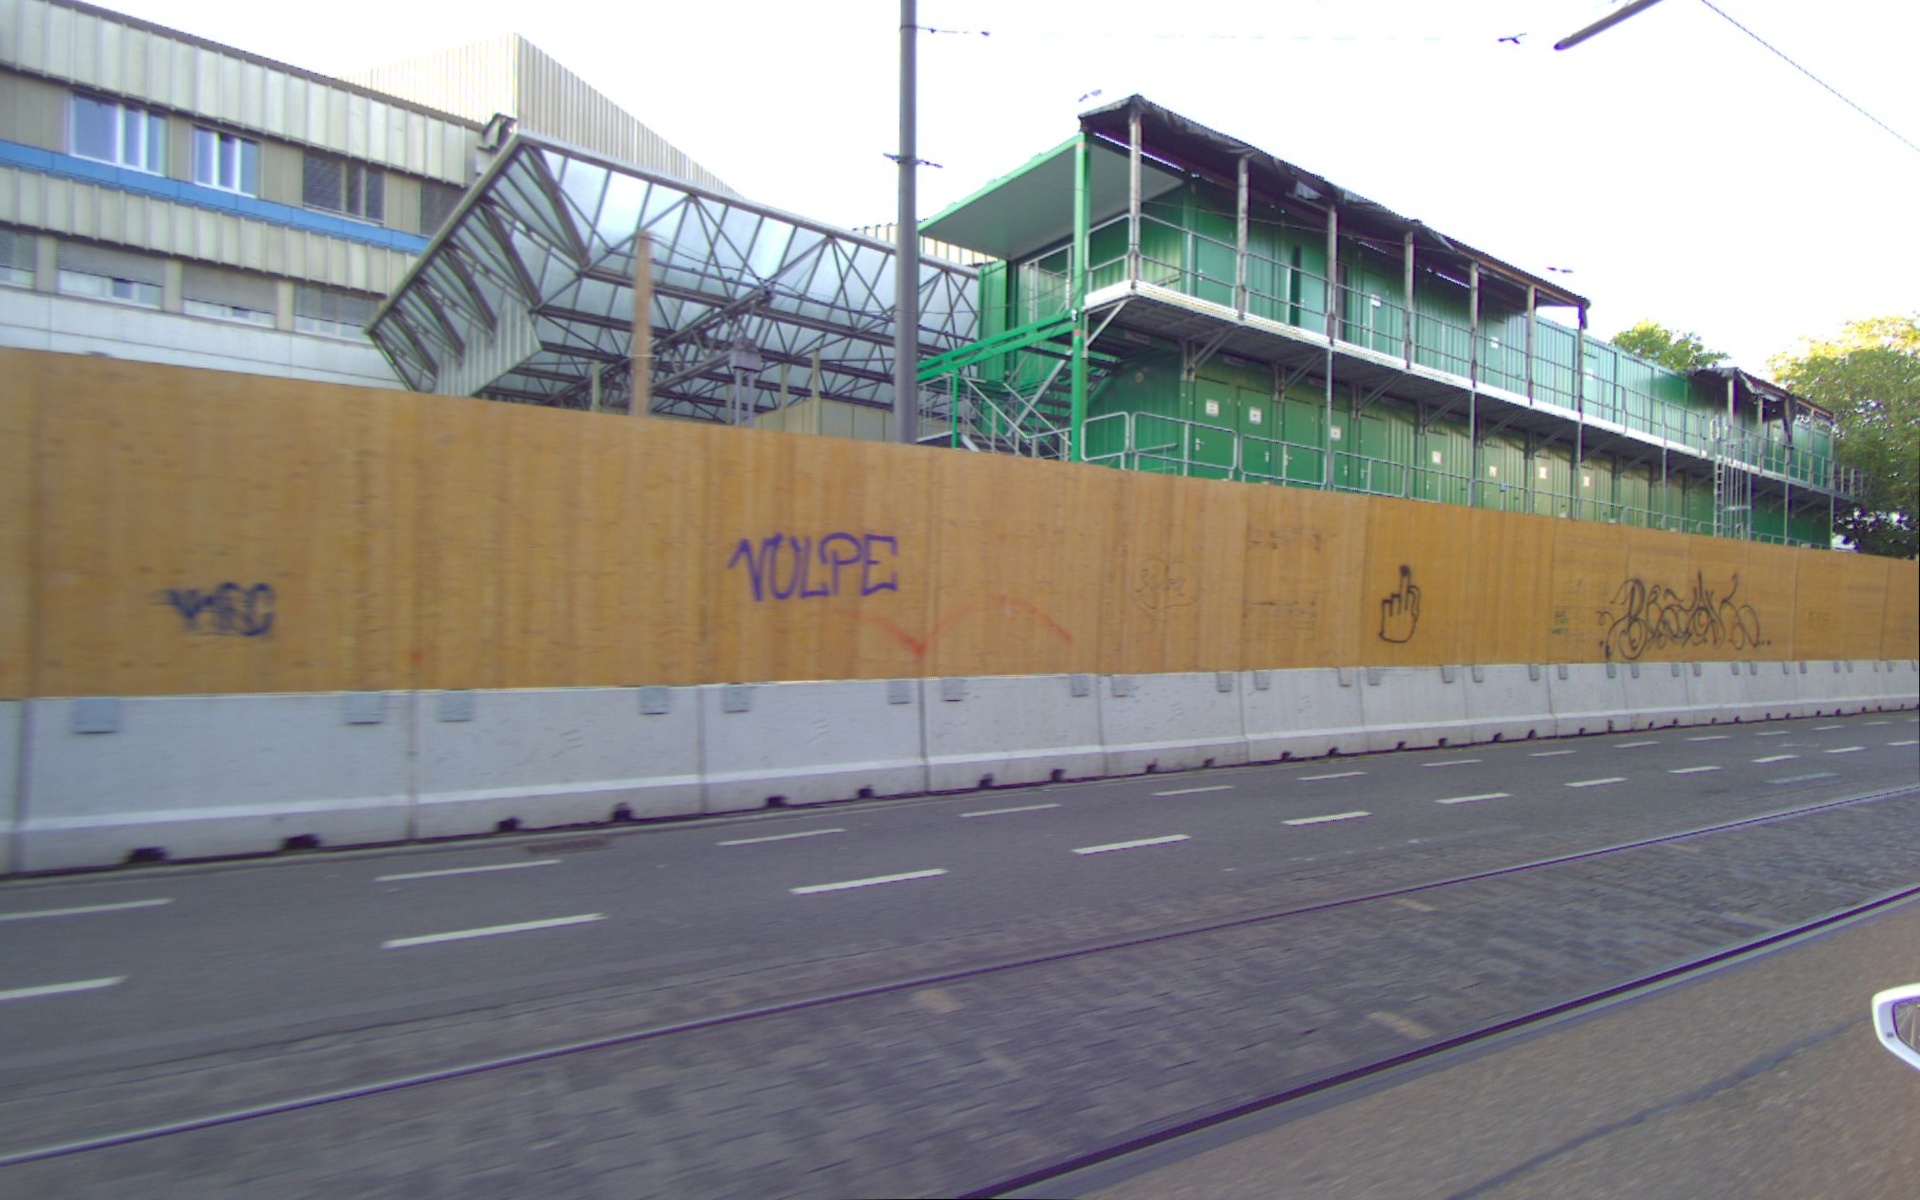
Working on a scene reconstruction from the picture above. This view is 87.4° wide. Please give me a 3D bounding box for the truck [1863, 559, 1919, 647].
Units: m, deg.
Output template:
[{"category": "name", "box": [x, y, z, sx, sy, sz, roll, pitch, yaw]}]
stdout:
[{"category": "truck", "box": [40.469, 0.190, 39.404, 2.514, 3.528, 7.015, 1, 2, -33]}]
